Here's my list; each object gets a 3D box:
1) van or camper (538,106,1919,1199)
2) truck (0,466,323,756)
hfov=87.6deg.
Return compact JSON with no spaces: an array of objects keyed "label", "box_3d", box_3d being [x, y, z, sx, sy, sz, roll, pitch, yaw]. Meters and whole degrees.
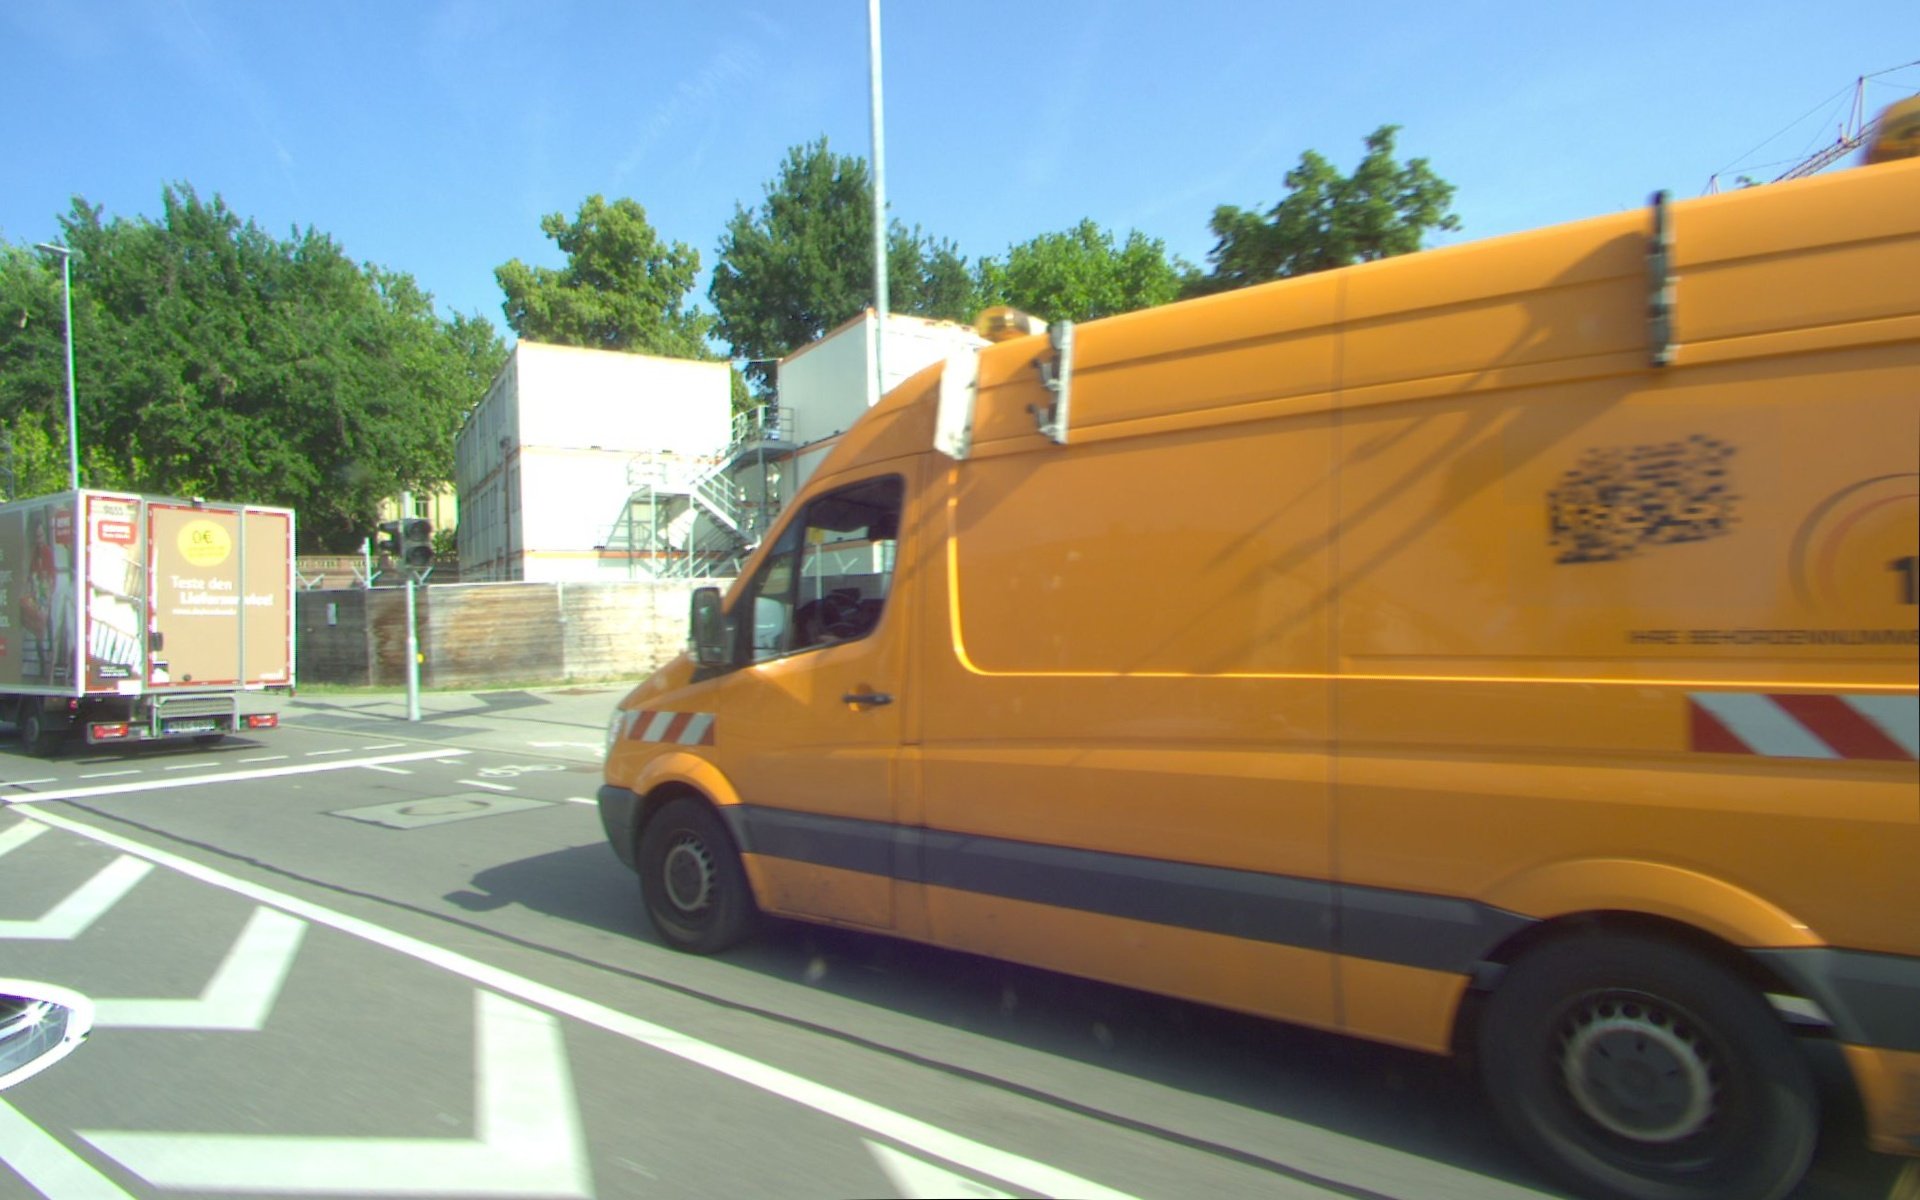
[{"label":"van or camper","box_3d":[0.900,0.253,4.082,5.980,2.505,1.980,-1,0,35]},{"label":"truck","box_3d":[-12.132,0.244,13.773,7.706,3.099,2.499,-2,-2,31]}]
